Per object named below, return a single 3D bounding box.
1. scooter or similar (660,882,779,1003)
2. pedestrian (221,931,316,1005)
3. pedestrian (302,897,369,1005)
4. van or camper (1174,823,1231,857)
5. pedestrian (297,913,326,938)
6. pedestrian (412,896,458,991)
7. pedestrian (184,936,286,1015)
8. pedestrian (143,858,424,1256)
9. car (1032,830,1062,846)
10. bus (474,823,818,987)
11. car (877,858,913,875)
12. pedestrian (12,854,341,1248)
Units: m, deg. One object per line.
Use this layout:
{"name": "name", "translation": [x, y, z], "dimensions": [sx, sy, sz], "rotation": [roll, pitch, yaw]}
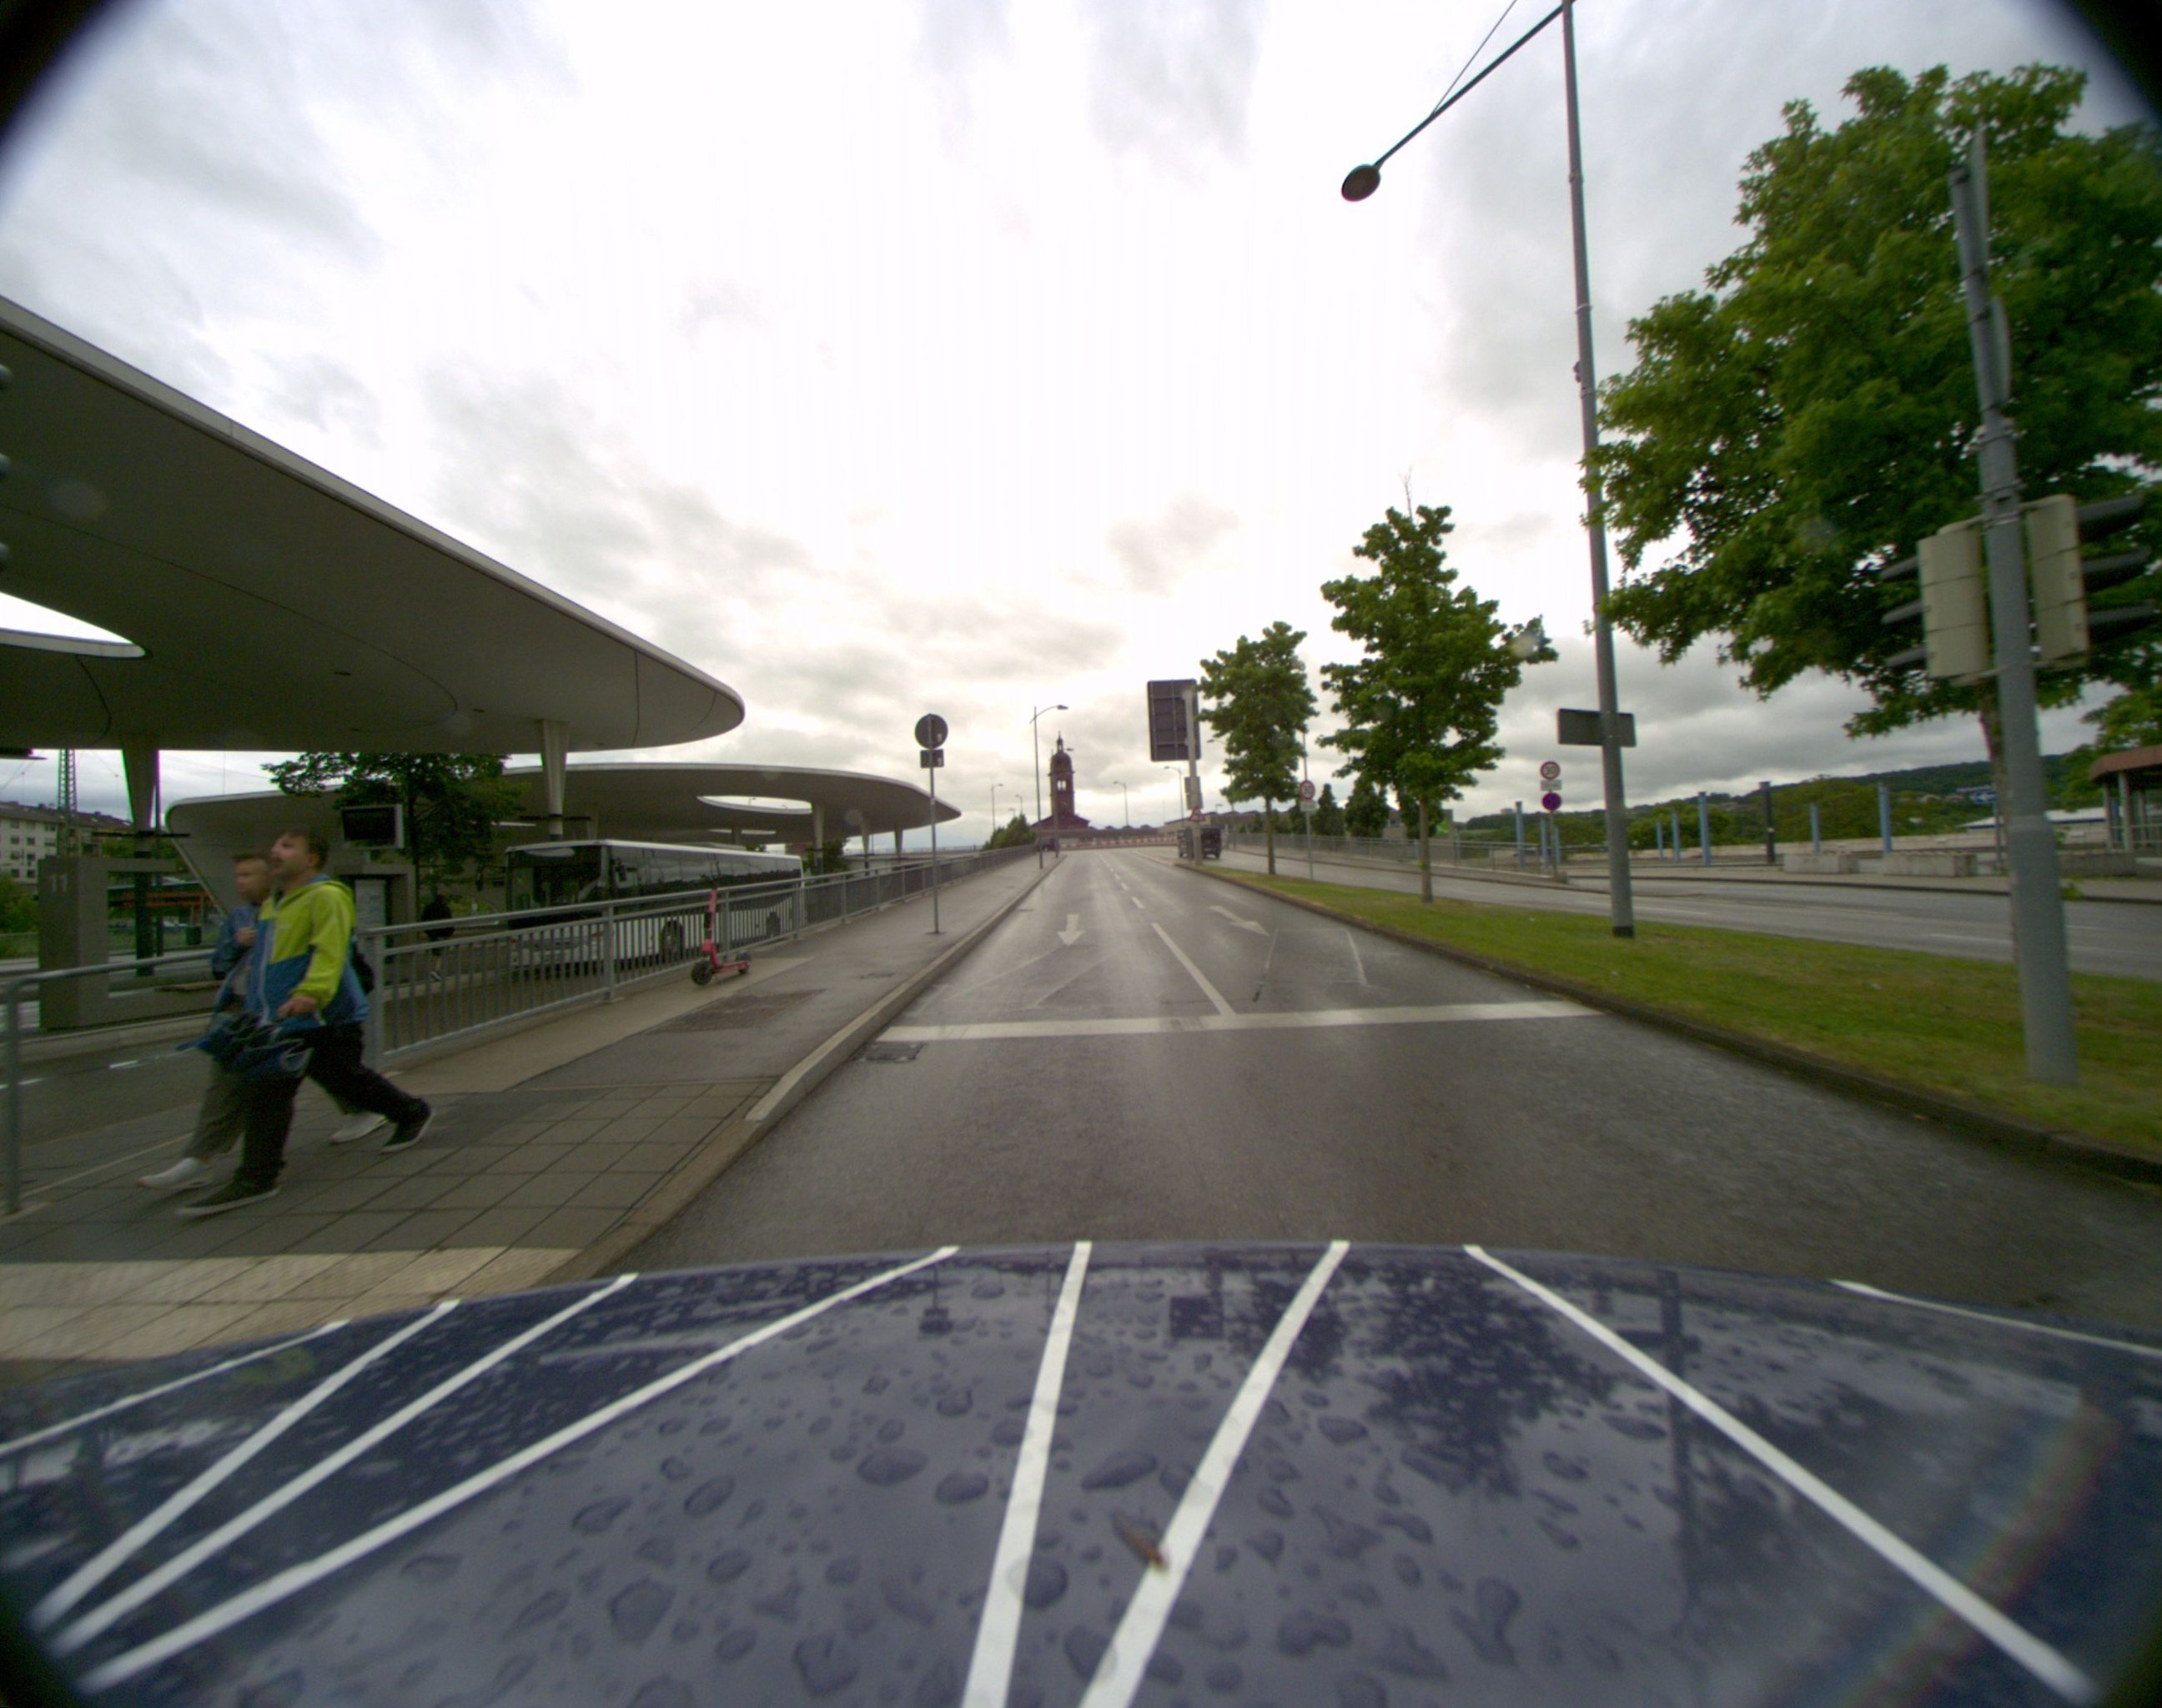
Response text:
{"name": "scooter or similar", "translation": [-4.188, 0.965, 8.963], "dimensions": [0.465, 1.213, 1.859], "rotation": [-2, 0, 0]}
{"name": "pedestrian", "translation": [-14.752, 2.047, 13.828], "dimensions": [0.954, 1.247, 0.648], "rotation": [1, -3, -23]}
{"name": "pedestrian", "translation": [-13.519, 1.735, 13.785], "dimensions": [0.585, 1.875, 0.650], "rotation": [-3, -2, 11]}
{"name": "van or camper", "translation": [7.704, -0.933, 48.748], "dimensions": [2.223, 2.061, 5.278], "rotation": [-1, 2, -8]}
{"name": "pedestrian", "translation": [-44.813, 4.179, 44.263], "dimensions": [0.800, 1.317, 0.711], "rotation": [-5, 3, 6]}
{"name": "pedestrian", "translation": [-13.353, 1.816, 15.716], "dimensions": [0.650, 1.892, 0.585], "rotation": [0, -2, -35]}
{"name": "pedestrian", "translation": [-14.602, 2.075, 13.137], "dimensions": [0.954, 1.247, 0.648], "rotation": [1, -3, -23]}
{"name": "pedestrian", "translation": [-3.633, 0.874, 3.519], "dimensions": [0.524, 1.661, 0.580], "rotation": [-3, 2, 0]}
{"name": "car", "translation": [-4.624, -2.176, 103.329], "dimensions": [1.854, 1.957, 4.672], "rotation": [-4, 3, -34]}
{"name": "bus", "translation": [-11.724, 1.327, 22.908], "dimensions": [2.852, 3.341, 12.430], "rotation": [-5, -2, 1]}
{"name": "car", "translation": [-26.857, 1.784, 109.754], "dimensions": [4.682, 1.956, 2.114], "rotation": [-4, 0, -2]}
{"name": "pedestrian", "translation": [-4.177, 0.867, 3.572], "dimensions": [0.590, 1.661, 0.580], "rotation": [-5, 4, 0]}
